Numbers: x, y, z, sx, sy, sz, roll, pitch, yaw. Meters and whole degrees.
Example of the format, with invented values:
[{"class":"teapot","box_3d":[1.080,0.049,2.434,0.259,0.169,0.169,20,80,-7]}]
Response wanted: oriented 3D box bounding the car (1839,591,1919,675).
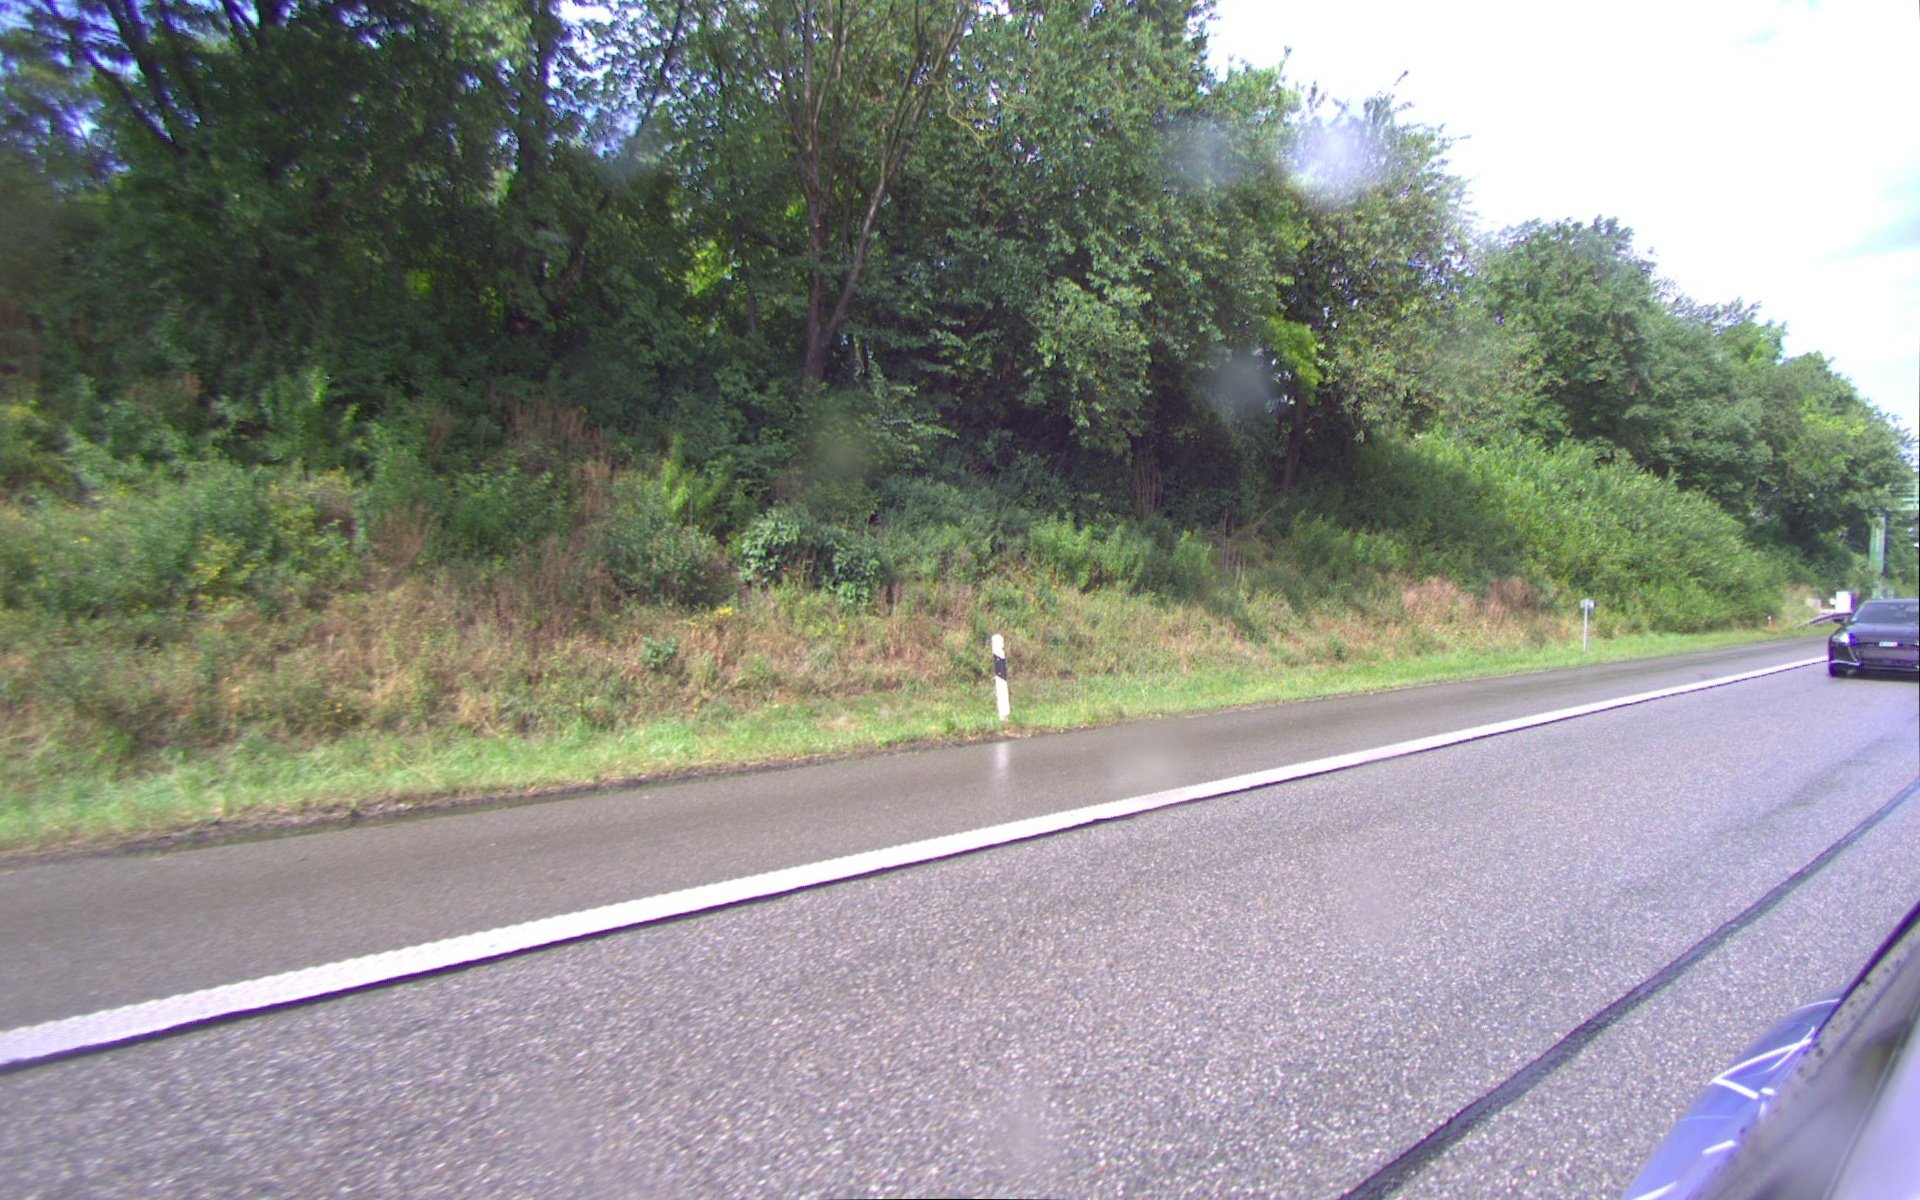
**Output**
[{"class":"car","box_3d":[17.695,0.545,18.626,4.293,1.414,1.758,-1,1,-41]}]
